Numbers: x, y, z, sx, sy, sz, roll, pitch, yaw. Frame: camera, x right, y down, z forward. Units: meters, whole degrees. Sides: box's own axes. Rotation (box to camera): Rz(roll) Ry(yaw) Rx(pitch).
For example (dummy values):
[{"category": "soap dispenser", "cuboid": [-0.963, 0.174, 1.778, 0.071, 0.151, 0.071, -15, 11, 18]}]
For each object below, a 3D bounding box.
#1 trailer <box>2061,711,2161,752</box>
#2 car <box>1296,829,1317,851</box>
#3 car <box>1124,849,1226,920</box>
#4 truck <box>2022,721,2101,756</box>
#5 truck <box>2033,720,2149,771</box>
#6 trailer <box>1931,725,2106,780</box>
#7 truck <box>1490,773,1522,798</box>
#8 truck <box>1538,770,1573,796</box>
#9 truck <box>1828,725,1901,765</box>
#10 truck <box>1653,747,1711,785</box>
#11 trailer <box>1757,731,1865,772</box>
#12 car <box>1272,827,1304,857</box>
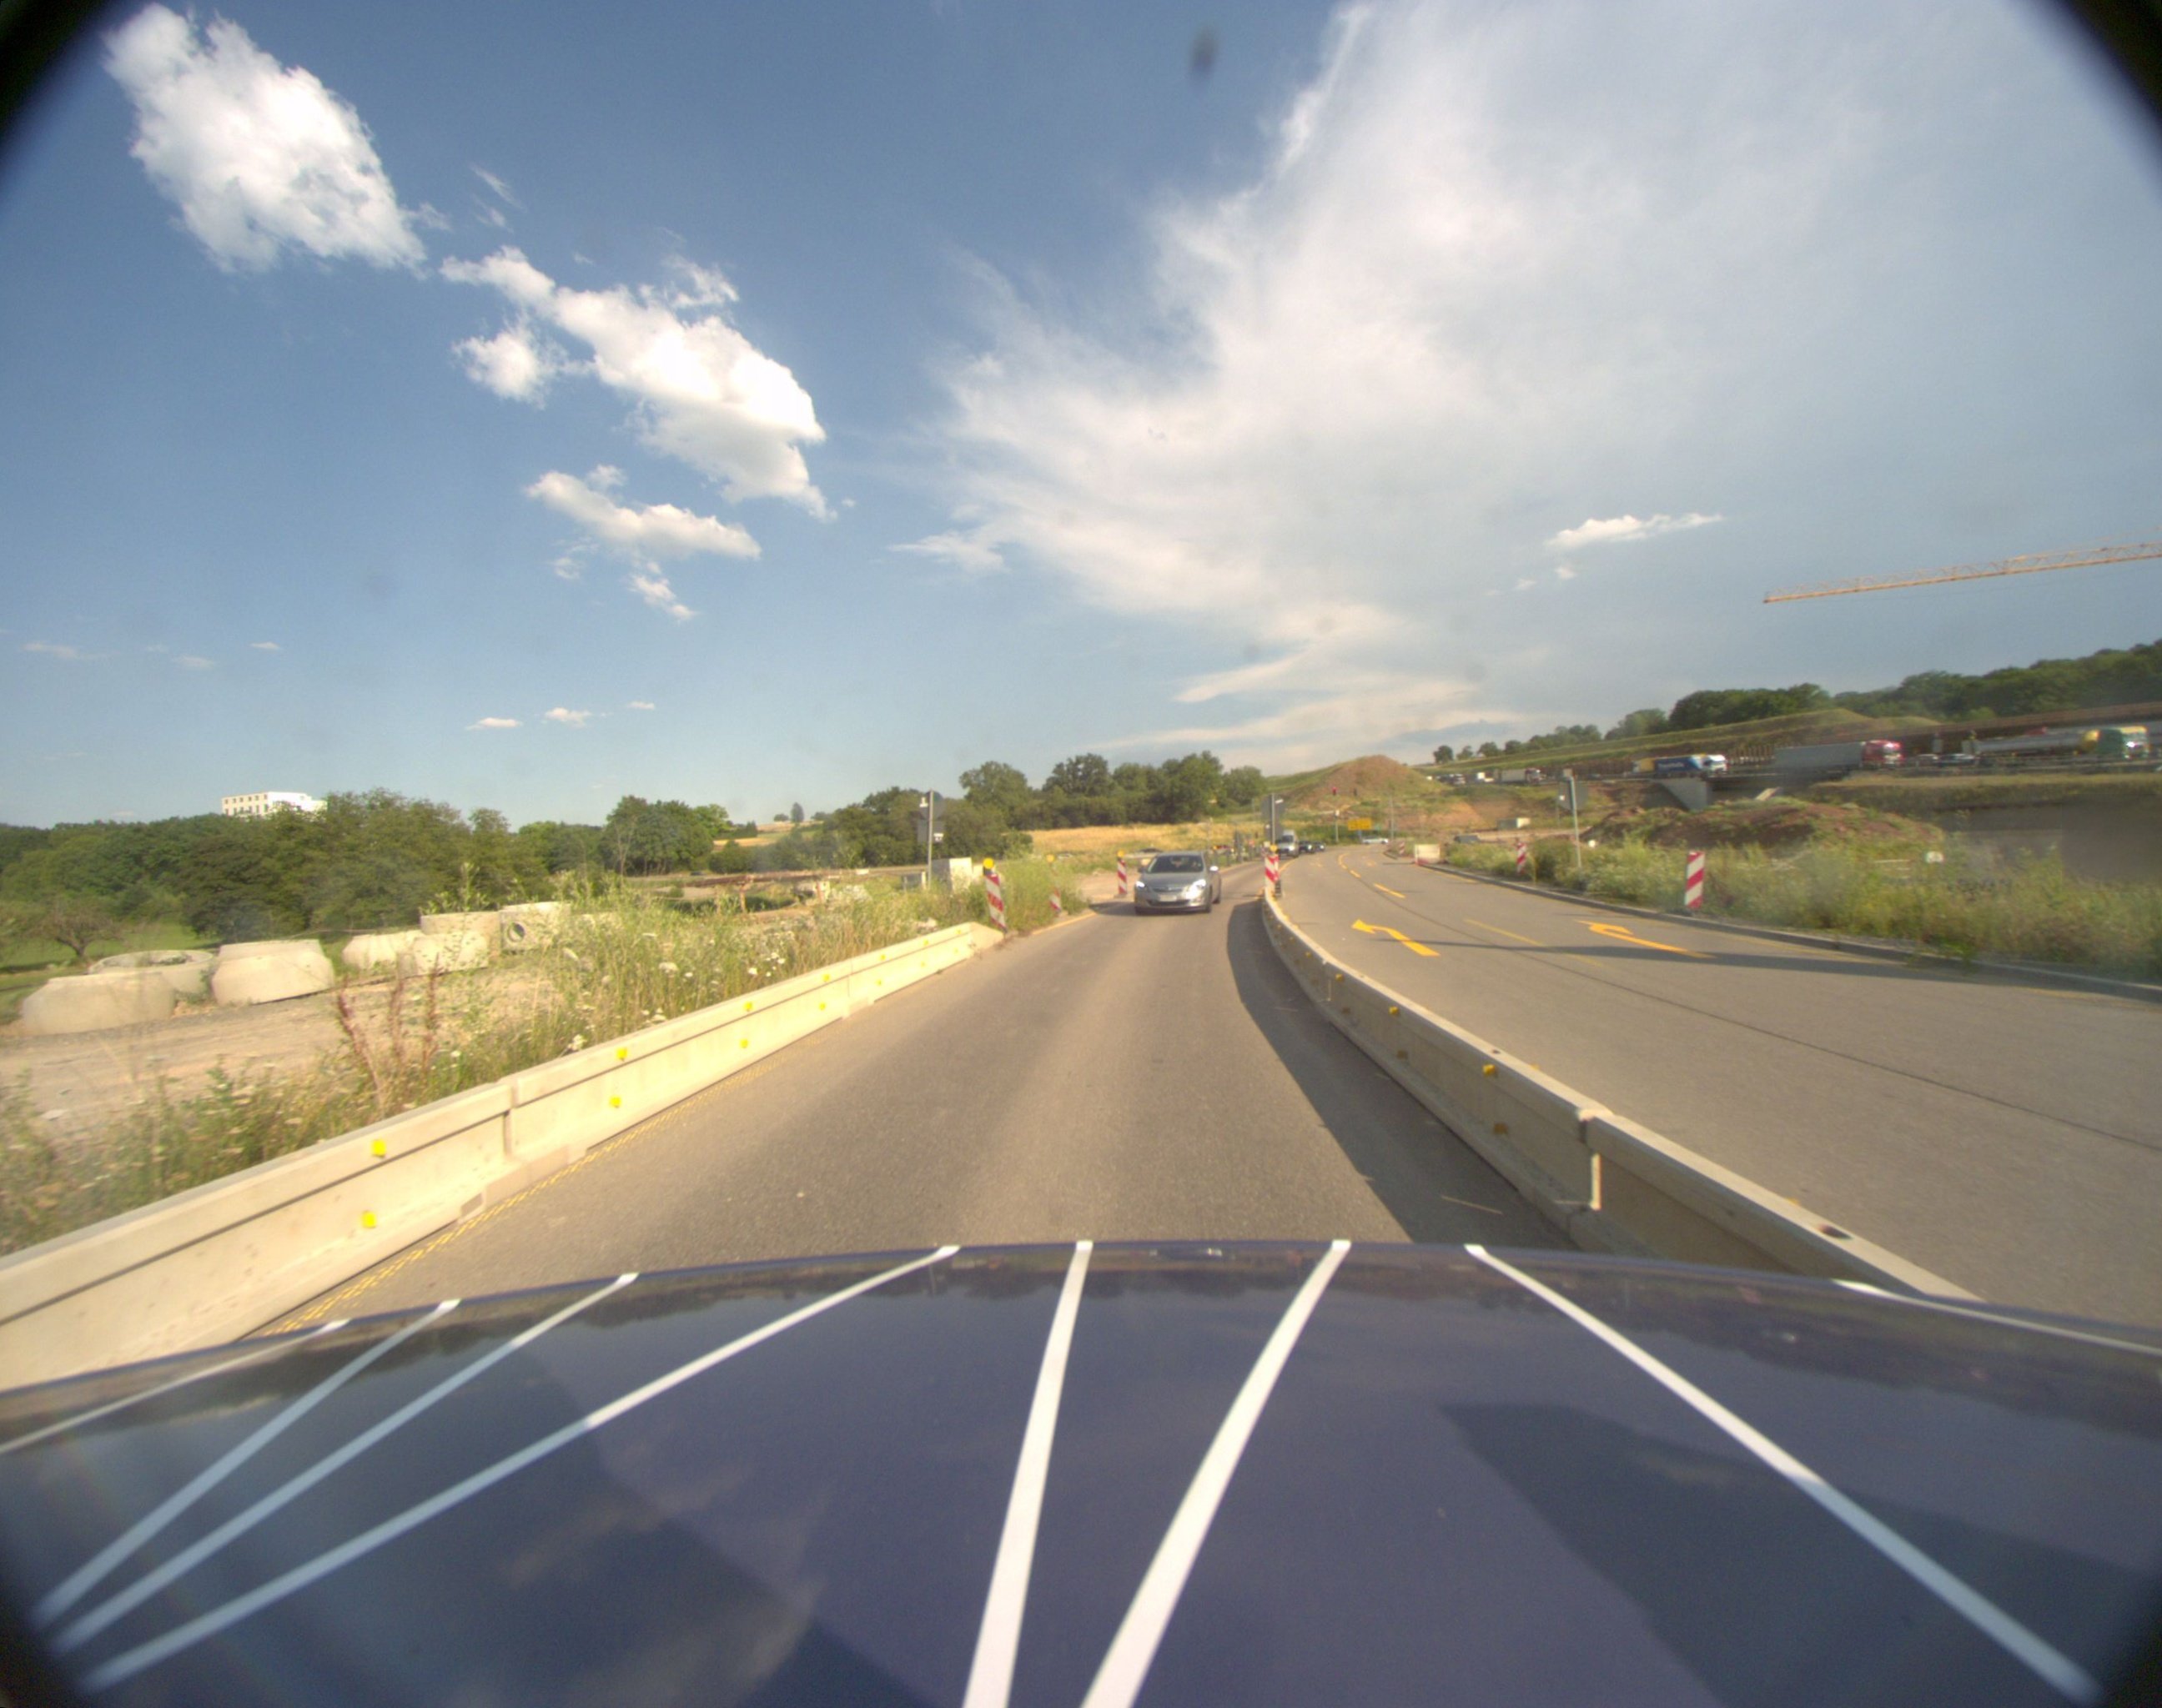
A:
[{"category": "trailer", "cuboid": [124.121, -14.556, 90.146, 1.970, 3.494, 11.177, -2, 1, 5]}, {"category": "car", "cuboid": [26.059, -1.636, 87.624, 1.872, 2.389, 4.005, -2, 1, 23]}, {"category": "car", "cuboid": [2.448, 0.680, 18.879, 1.745, 1.476, 4.257, -2, 0, 17]}, {"category": "truck", "cuboid": [124.716, -14.620, 96.766, 1.975, 3.494, 6.595, -2, 1, 5]}, {"category": "truck", "cuboid": [104.883, -11.133, 79.098, 3.110, 4.289, 6.898, -2, 1, 5]}, {"category": "trailer", "cuboid": [105.446, -11.255, 86.153, 3.110, 4.289, 14.254, -2, 1, 5]}, {"category": "truck", "cuboid": [114.480, -18.325, 204.762, 3.171, 5.837, 10.677, -2, 1, 5]}, {"category": "truck", "cuboid": [126.429, -18.779, 202.545, 3.171, 5.837, 10.677, -2, 1, 5]}, {"category": "truck", "cuboid": [106.768, -14.791, 103.703, 3.110, 4.289, 6.898, -2, 1, 5]}, {"category": "truck", "cuboid": [109.584, -15.914, 138.816, 3.171, 5.837, 10.147, -2, 1, 5]}, {"category": "trailer", "cuboid": [107.498, -14.976, 112.422, 3.110, 4.289, 14.254, -2, 1, 5]}, {"category": "car", "cuboid": [18.634, -1.081, 68.268, 1.913, 2.486, 5.806, -2, 1, 23]}]
